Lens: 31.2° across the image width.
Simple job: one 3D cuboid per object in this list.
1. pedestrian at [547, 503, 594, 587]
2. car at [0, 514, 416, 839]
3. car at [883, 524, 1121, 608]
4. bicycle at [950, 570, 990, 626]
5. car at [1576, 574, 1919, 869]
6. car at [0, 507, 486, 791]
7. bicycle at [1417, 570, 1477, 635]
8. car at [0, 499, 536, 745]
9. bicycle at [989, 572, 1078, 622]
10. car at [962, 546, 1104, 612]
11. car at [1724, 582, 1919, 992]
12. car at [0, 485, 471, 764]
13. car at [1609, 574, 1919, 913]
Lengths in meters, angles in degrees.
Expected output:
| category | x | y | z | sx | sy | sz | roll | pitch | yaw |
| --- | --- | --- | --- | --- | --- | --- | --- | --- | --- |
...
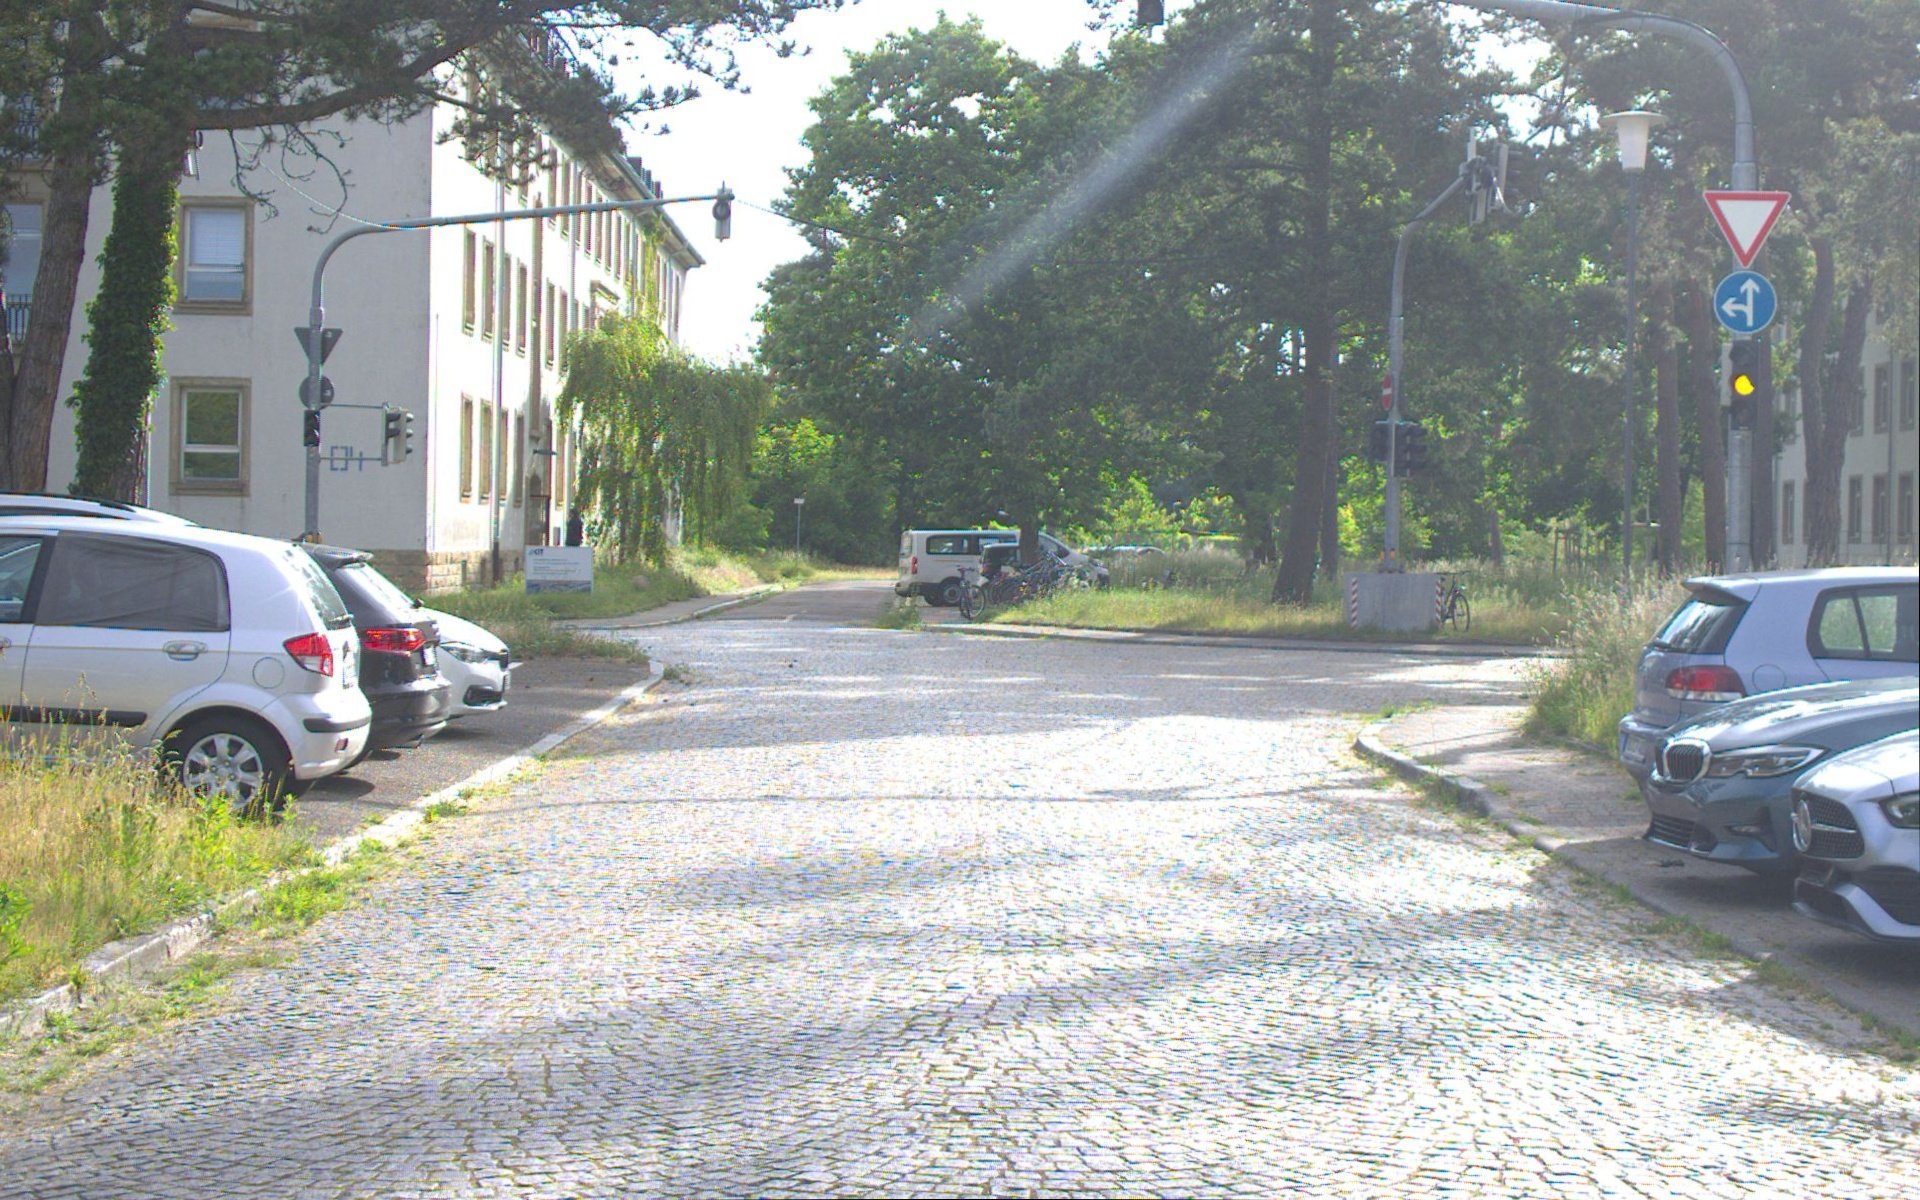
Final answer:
| category | x | y | z | sx | sy | sz | roll | pitch | yaw |
| --- | --- | --- | --- | --- | --- | --- | --- | --- | --- |
| pedestrian | -9.294 | -1.306 | 82.061 | 0.985 | 1.956 | 0.933 | 2 | 0 | -1 |
| car | -4.823 | 0.301 | 17.763 | 3.683 | 1.468 | 1.850 | 4 | 0 | -2 |
| car | 1.036 | -0.840 | 85.691 | 5.499 | 1.909 | 2.255 | 2 | 0 | -14 |
| bicycle | 0.193 | -0.045 | 66.166 | 0.728 | 0.995 | 1.799 | 1 | 2 | -1 |
| car | 5.827 | 0.642 | 18.694 | 4.543 | 1.500 | 1.933 | 1 | 0 | -2 |
| car | -4.887 | 0.223 | 20.418 | 3.828 | 1.424 | 1.859 | 4 | 0 | -1 |
| bicycle | 7.867 | 0.031 | 55.611 | 0.562 | 0.995 | 1.752 | 1 | 2 | -5 |
| car | -5.589 | 0.118 | 25.651 | 4.586 | 1.450 | 1.904 | 4 | 2 | -3 |
| bicycle | 1.507 | -0.065 | 70.782 | 1.792 | 0.995 | 0.644 | 1 | 2 | -1 |
| car | 1.741 | -0.497 | 82.129 | 3.031 | 1.460 | 1.720 | 2 | 0 | -13 |
| car | 5.428 | 0.695 | 13.289 | 4.506 | 1.468 | 1.850 | 1 | 0 | -1 |
| car | -5.468 | 0.110 | 23.109 | 4.120 | 1.594 | 1.859 | 4 | 0 | -5 |
| car | 5.506 | 0.648 | 16.068 | 4.506 | 1.468 | 1.895 | 1 | 0 | -4 |
